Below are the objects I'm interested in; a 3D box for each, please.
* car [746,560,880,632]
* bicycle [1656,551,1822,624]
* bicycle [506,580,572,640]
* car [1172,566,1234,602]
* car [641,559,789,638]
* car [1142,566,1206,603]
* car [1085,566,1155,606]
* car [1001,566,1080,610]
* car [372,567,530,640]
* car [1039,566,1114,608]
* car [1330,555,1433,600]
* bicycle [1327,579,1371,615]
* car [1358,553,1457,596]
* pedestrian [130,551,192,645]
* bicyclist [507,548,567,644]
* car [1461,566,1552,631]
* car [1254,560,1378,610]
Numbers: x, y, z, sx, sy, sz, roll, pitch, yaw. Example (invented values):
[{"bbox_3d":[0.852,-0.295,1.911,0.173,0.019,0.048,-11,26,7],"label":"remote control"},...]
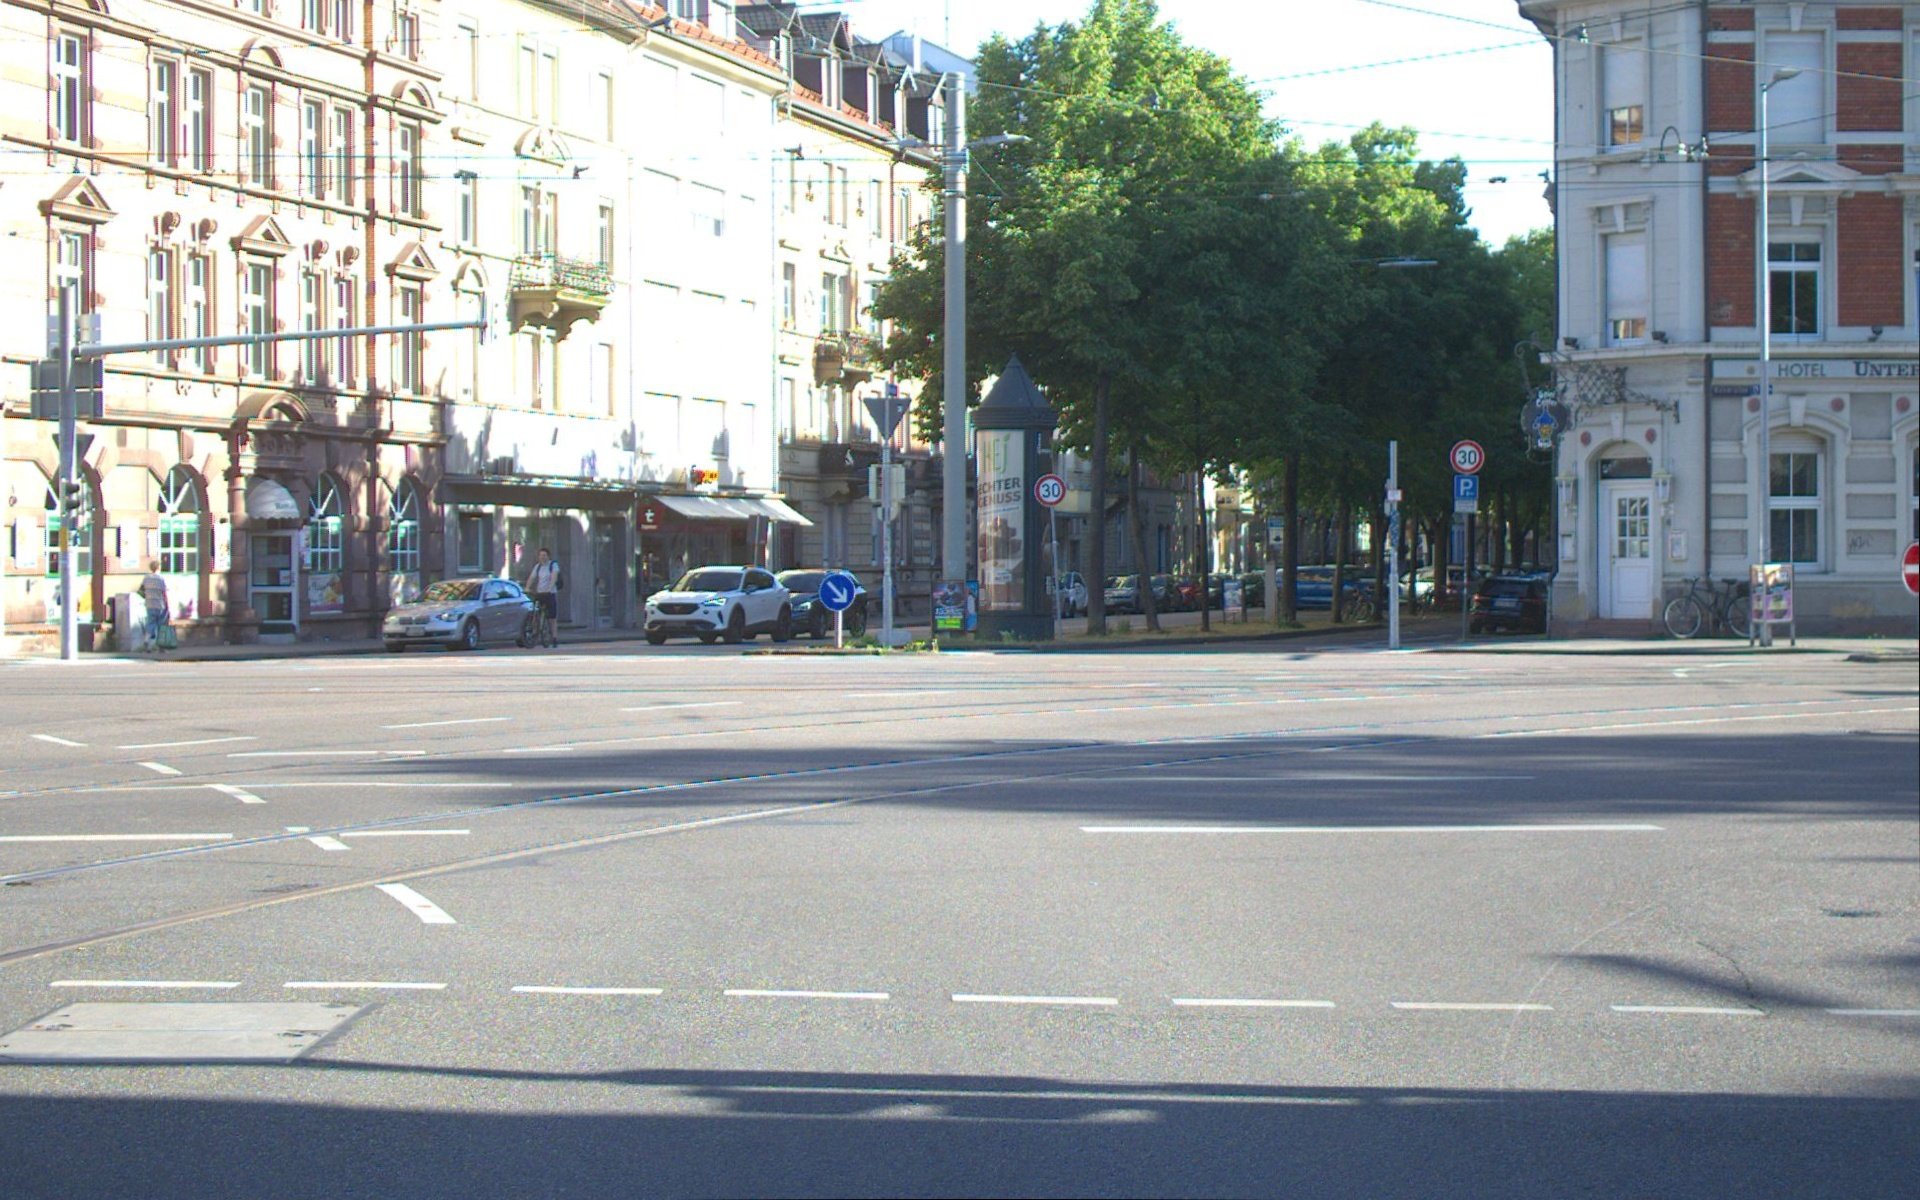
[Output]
[{"bbox_3d":[-3.120,-0.100,73.616,1.678,1.478,3.945,0,1,17],"label":"car"},{"bbox_3d":[12.968,-0.207,57.276,2.554,1.170,0.819,1,0,-3],"label":"bicycle"},{"bbox_3d":[-7.980,0.186,65.266,0.702,1.114,1.634,1,1,13],"label":"bicycle"},{"bbox_3d":[9.616,-0.649,135.778,1.678,1.349,3.588,0,1,17],"label":"car"},{"bbox_3d":[-4.762,-0.051,67.315,1.678,1.478,3.768,0,1,17],"label":"car"},{"bbox_3d":[8.144,-0.610,130.748,1.678,1.349,3.588,0,1,17],"label":"car"},{"bbox_3d":[5.707,-0.509,122.441,1.678,1.349,3.588,0,1,17],"label":"car"},{"bbox_3d":[2.638,-0.397,111.323,1.678,1.349,3.588,0,1,17],"label":"car"},{"bbox_3d":[-9.873,0.057,66.911,1.678,1.349,3.588,0,1,17],"label":"car"},{"bbox_3d":[3.936,-0.440,115.480,1.678,1.349,3.588,0,1,17],"label":"car"},{"bbox_3d":[15.716,-0.842,128.033,3.582,1.642,1.681,0,1,17],"label":"car"},{"bbox_3d":[11.262,-0.101,99.484,0.636,1.018,1.847,1,1,-14],"label":"bicycle"},{"bbox_3d":[17.391,-0.996,133.506,3.582,1.642,1.681,0,1,17],"label":"car"},{"bbox_3d":[-14.431,-0.037,62.089,0.776,1.664,0.830,1,0,15],"label":"pedestrian"},{"bbox_3d":[-8.015,-0.087,65.140,0.779,1.797,1.055,1,0,14],"label":"bicyclist"},{"bbox_3d":[13.150,-0.055,82.574,1.678,1.478,3.945,0,1,17],"label":"car"},{"bbox_3d":[11.994,-0.506,115.678,3.905,1.642,1.681,0,1,17],"label":"car"}]
